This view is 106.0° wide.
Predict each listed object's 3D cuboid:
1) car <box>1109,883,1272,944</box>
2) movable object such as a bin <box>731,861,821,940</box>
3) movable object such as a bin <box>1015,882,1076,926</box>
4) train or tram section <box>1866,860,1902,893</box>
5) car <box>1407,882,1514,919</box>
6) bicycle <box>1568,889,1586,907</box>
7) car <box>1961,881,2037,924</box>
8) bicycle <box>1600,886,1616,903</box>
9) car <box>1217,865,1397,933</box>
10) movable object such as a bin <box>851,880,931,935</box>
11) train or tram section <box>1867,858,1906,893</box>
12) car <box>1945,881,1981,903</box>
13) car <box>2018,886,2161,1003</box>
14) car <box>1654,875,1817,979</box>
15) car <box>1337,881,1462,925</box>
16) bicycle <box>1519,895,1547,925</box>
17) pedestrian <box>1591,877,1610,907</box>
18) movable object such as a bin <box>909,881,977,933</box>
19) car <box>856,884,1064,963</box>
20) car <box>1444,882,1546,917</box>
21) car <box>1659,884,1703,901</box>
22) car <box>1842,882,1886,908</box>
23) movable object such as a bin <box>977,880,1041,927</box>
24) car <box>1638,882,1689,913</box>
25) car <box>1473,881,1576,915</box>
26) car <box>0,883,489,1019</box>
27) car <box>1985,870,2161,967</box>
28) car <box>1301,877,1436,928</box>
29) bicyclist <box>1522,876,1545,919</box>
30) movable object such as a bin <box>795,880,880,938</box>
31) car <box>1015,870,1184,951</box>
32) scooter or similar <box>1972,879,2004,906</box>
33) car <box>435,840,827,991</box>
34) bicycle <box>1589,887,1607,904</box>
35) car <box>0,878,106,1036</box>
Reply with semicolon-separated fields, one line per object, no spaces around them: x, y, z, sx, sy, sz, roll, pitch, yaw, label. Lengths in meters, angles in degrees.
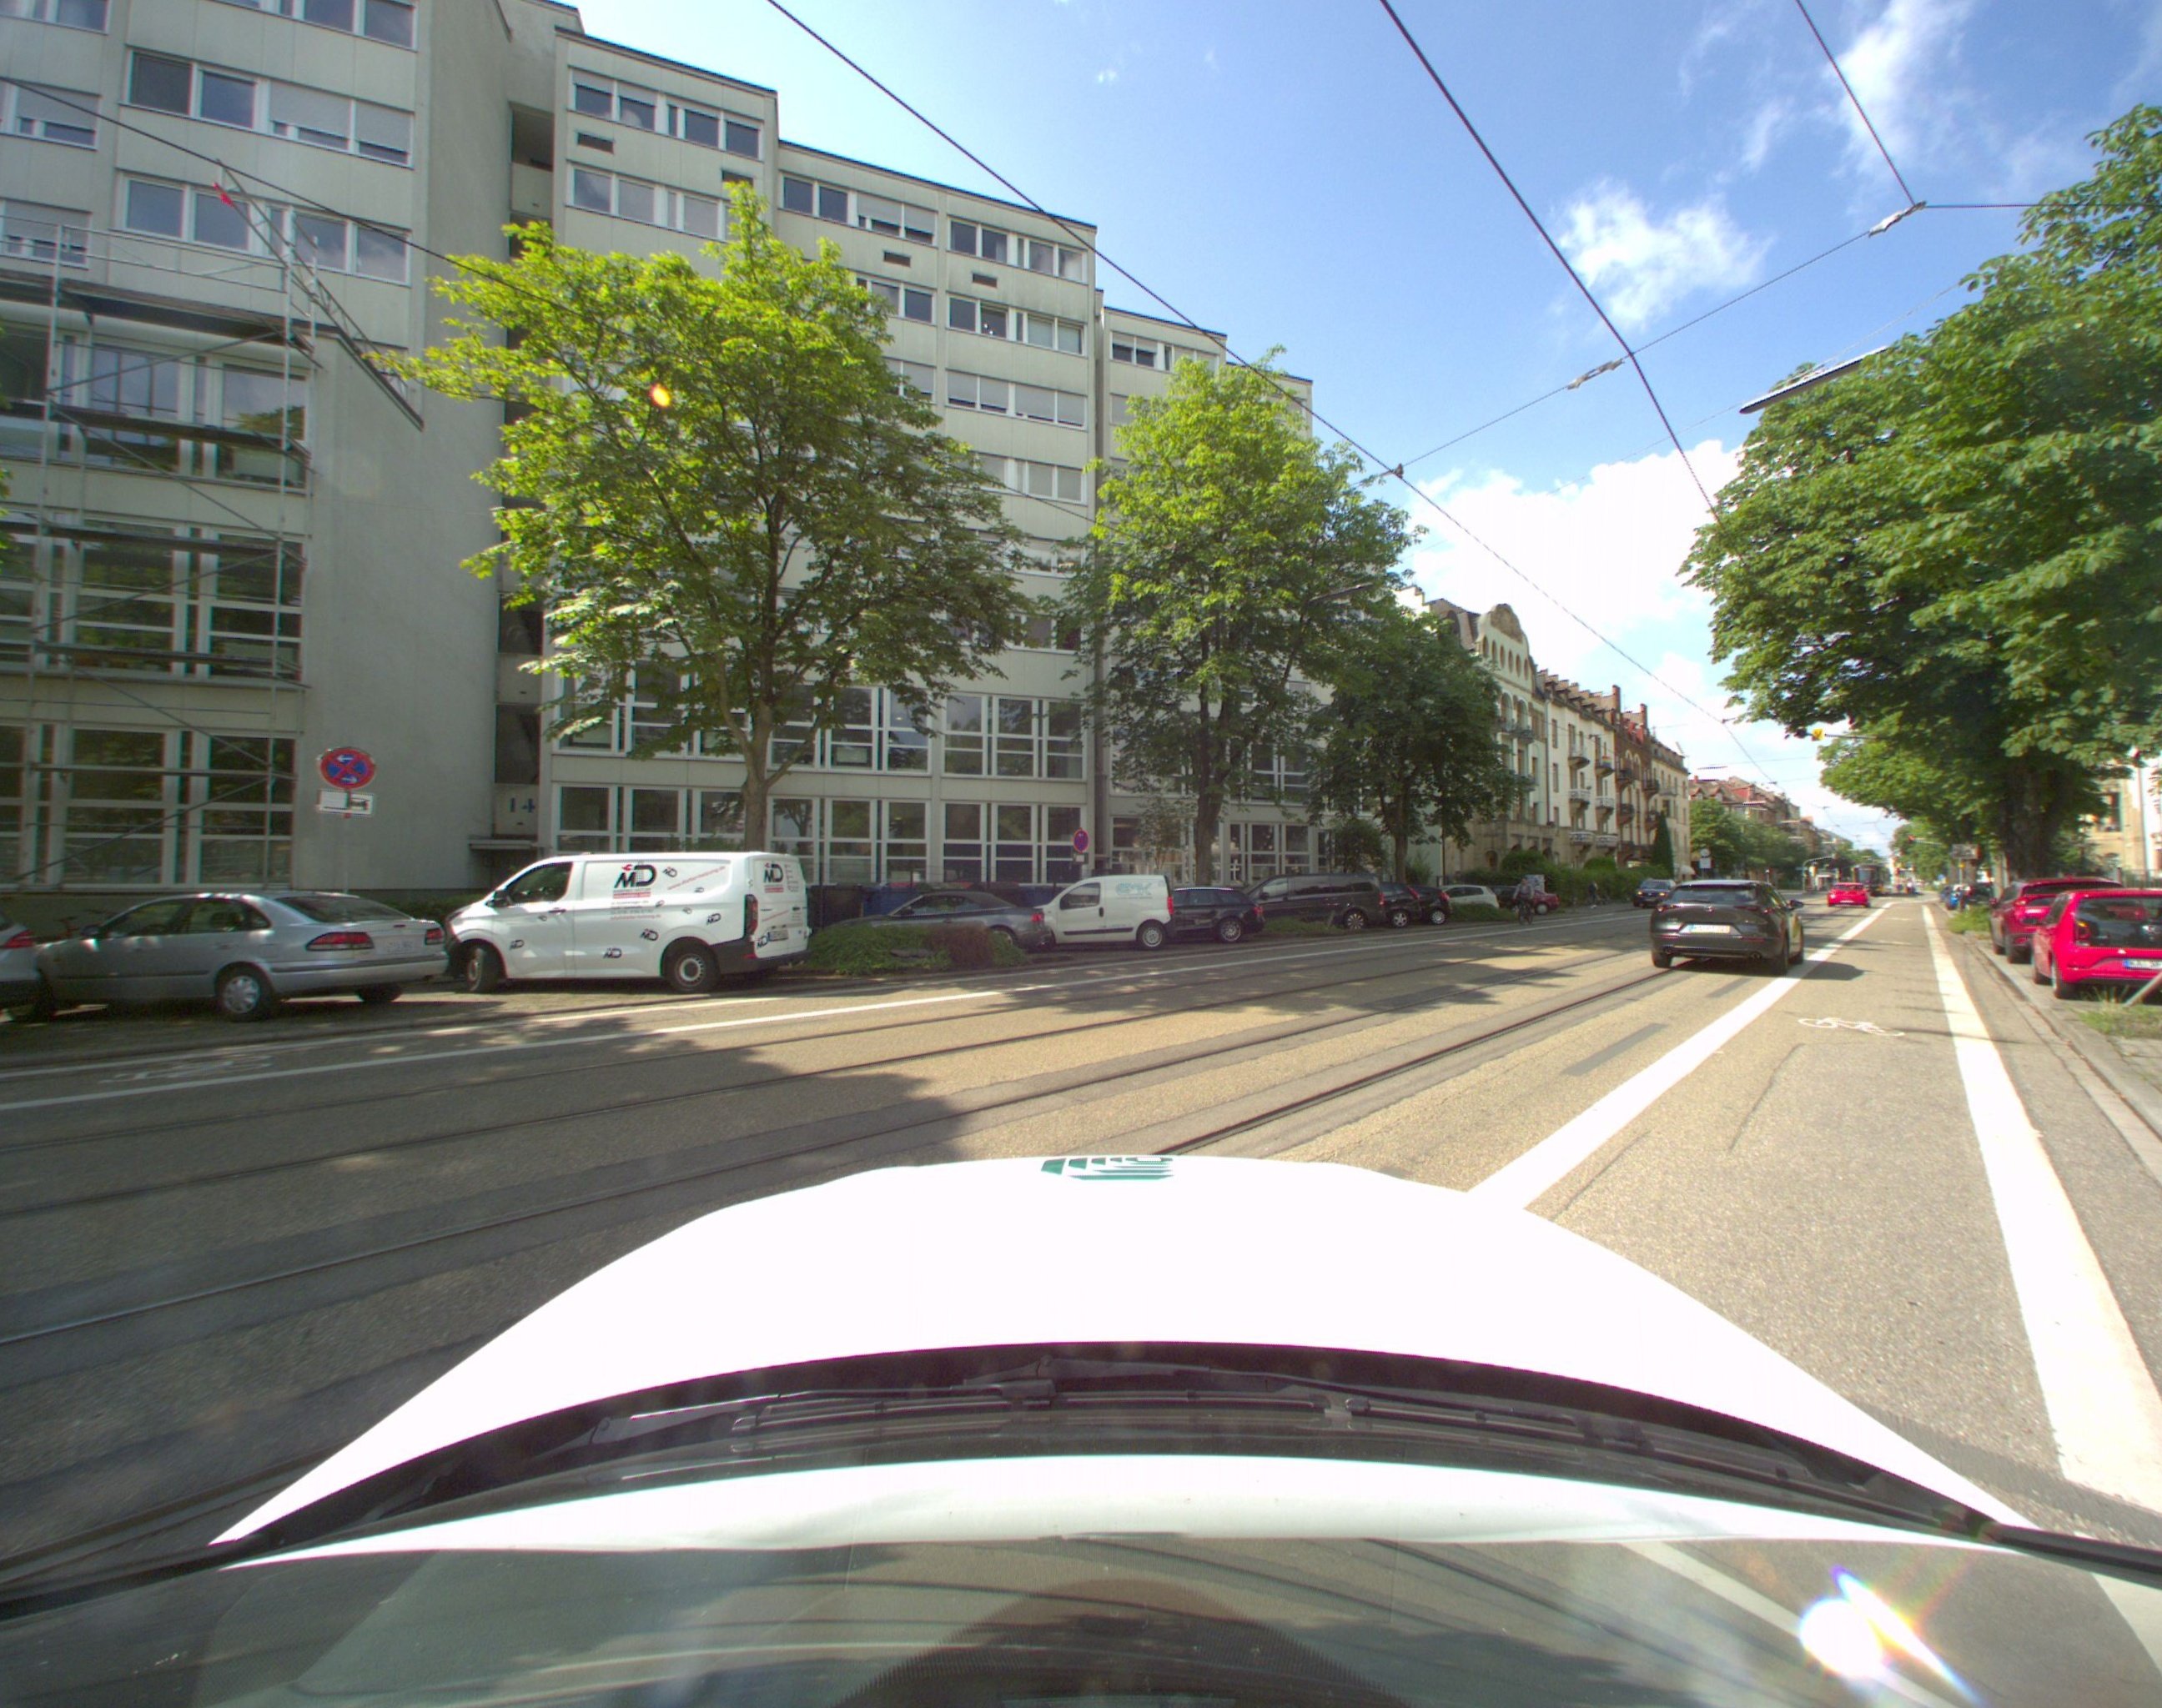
2.735;1.525;21.106;3.974;1.418;1.760;-2;-4;0;car
-7.247;1.126;19.377;1.373;1.782;1.548;-6;-6;42;movable object such as a bin
-1.093;1.531;25.080;1.450;1.283;1.157;3;-6;-45;movable object such as a bin
91.646;2.654;93.068;2.627;3.528;8.546;-3;-4;43;train or tram section
16.385;2.018;35.276;3.781;1.484;1.697;-2;-4;1;car
27.813;2.472;45.668;1.819;0.959;0.379;2;-1;-42;bicycle
36.615;1.910;32.561;4.226;1.591;1.681;2;-5;-45;car
32.248;2.474;49.816;1.819;0.959;0.379;2;-1;-42;bicycle
7.051;1.431;25.800;5.134;1.955;1.916;-2;-4;0;car
-5.065;1.431;21.706;1.373;1.364;1.548;-6;-6;42;movable object such as a bin
85.799;2.384;86.829;2.627;3.528;8.546;-3;-4;43;train or tram section
62.874;2.713;58.087;3.869;1.496;1.609;2;-5;-44;car
14.557;1.179;11.332;1.585;1.429;3.617;-6;-6;44;car
11.660;1.145;14.399;4.375;1.512;1.773;1;-1;-45;car
11.766;1.809;30.272;3.969;1.484;1.742;-2;-4;4;car
16.726;2.047;30.113;0.649;1.041;2.013;-2;-3;35;bicycle
28.659;2.086;44.926;0.886;1.568;0.674;2;-1;-41;pedestrian
-3.861;1.479;22.855;1.181;1.381;1.450;-6;-6;43;movable object such as a bin
-2.401;1.395;16.719;3.981;1.418;1.719;-1;-4;-5;car
18.938;2.087;37.421;3.774;1.484;1.700;-2;-4;7;car
60.022;3.865;81.490;1.687;1.513;3.209;2;-1;-40;car
46.490;2.406;48.390;1.768;1.493;4.911;-2;-3;44;car
-2.135;1.463;24.053;1.450;1.328;1.153;3;-6;-45;movable object such as a bin
35.065;2.594;48.970;1.768;1.763;4.911;-2;-3;44;car
21.401;2.141;39.420;3.940;1.484;1.847;-2;-4;3;car
-9.847;1.084;9.807;4.139;1.450;1.824;0;-2;4;car
19.758;1.215;16.300;1.858;1.677;4.307;-4;-4;44;car
9.801;1.666;27.992;3.971;1.593;1.741;-2;-4;2;car
16.798;1.624;30.219;0.635;1.577;0.746;-2;-4;36;bicyclist
-6.123;1.386;20.491;1.373;1.364;1.548;-6;-6;42;movable object such as a bin
0.457;1.311;18.884;3.688;1.693;1.761;-2;-4;3;car
45.305;1.926;40.696;0.437;1.300;1.187;-4;-3;16;scooter or similar
-6.397;0.862;11.940;4.649;1.998;1.971;0;-2;5;car
30.715;2.446;48.375;1.819;0.959;0.379;2;-1;-42;bicycle
-12.371;0.982;7.644;4.165;1.501;1.822;0;-2;0;car
